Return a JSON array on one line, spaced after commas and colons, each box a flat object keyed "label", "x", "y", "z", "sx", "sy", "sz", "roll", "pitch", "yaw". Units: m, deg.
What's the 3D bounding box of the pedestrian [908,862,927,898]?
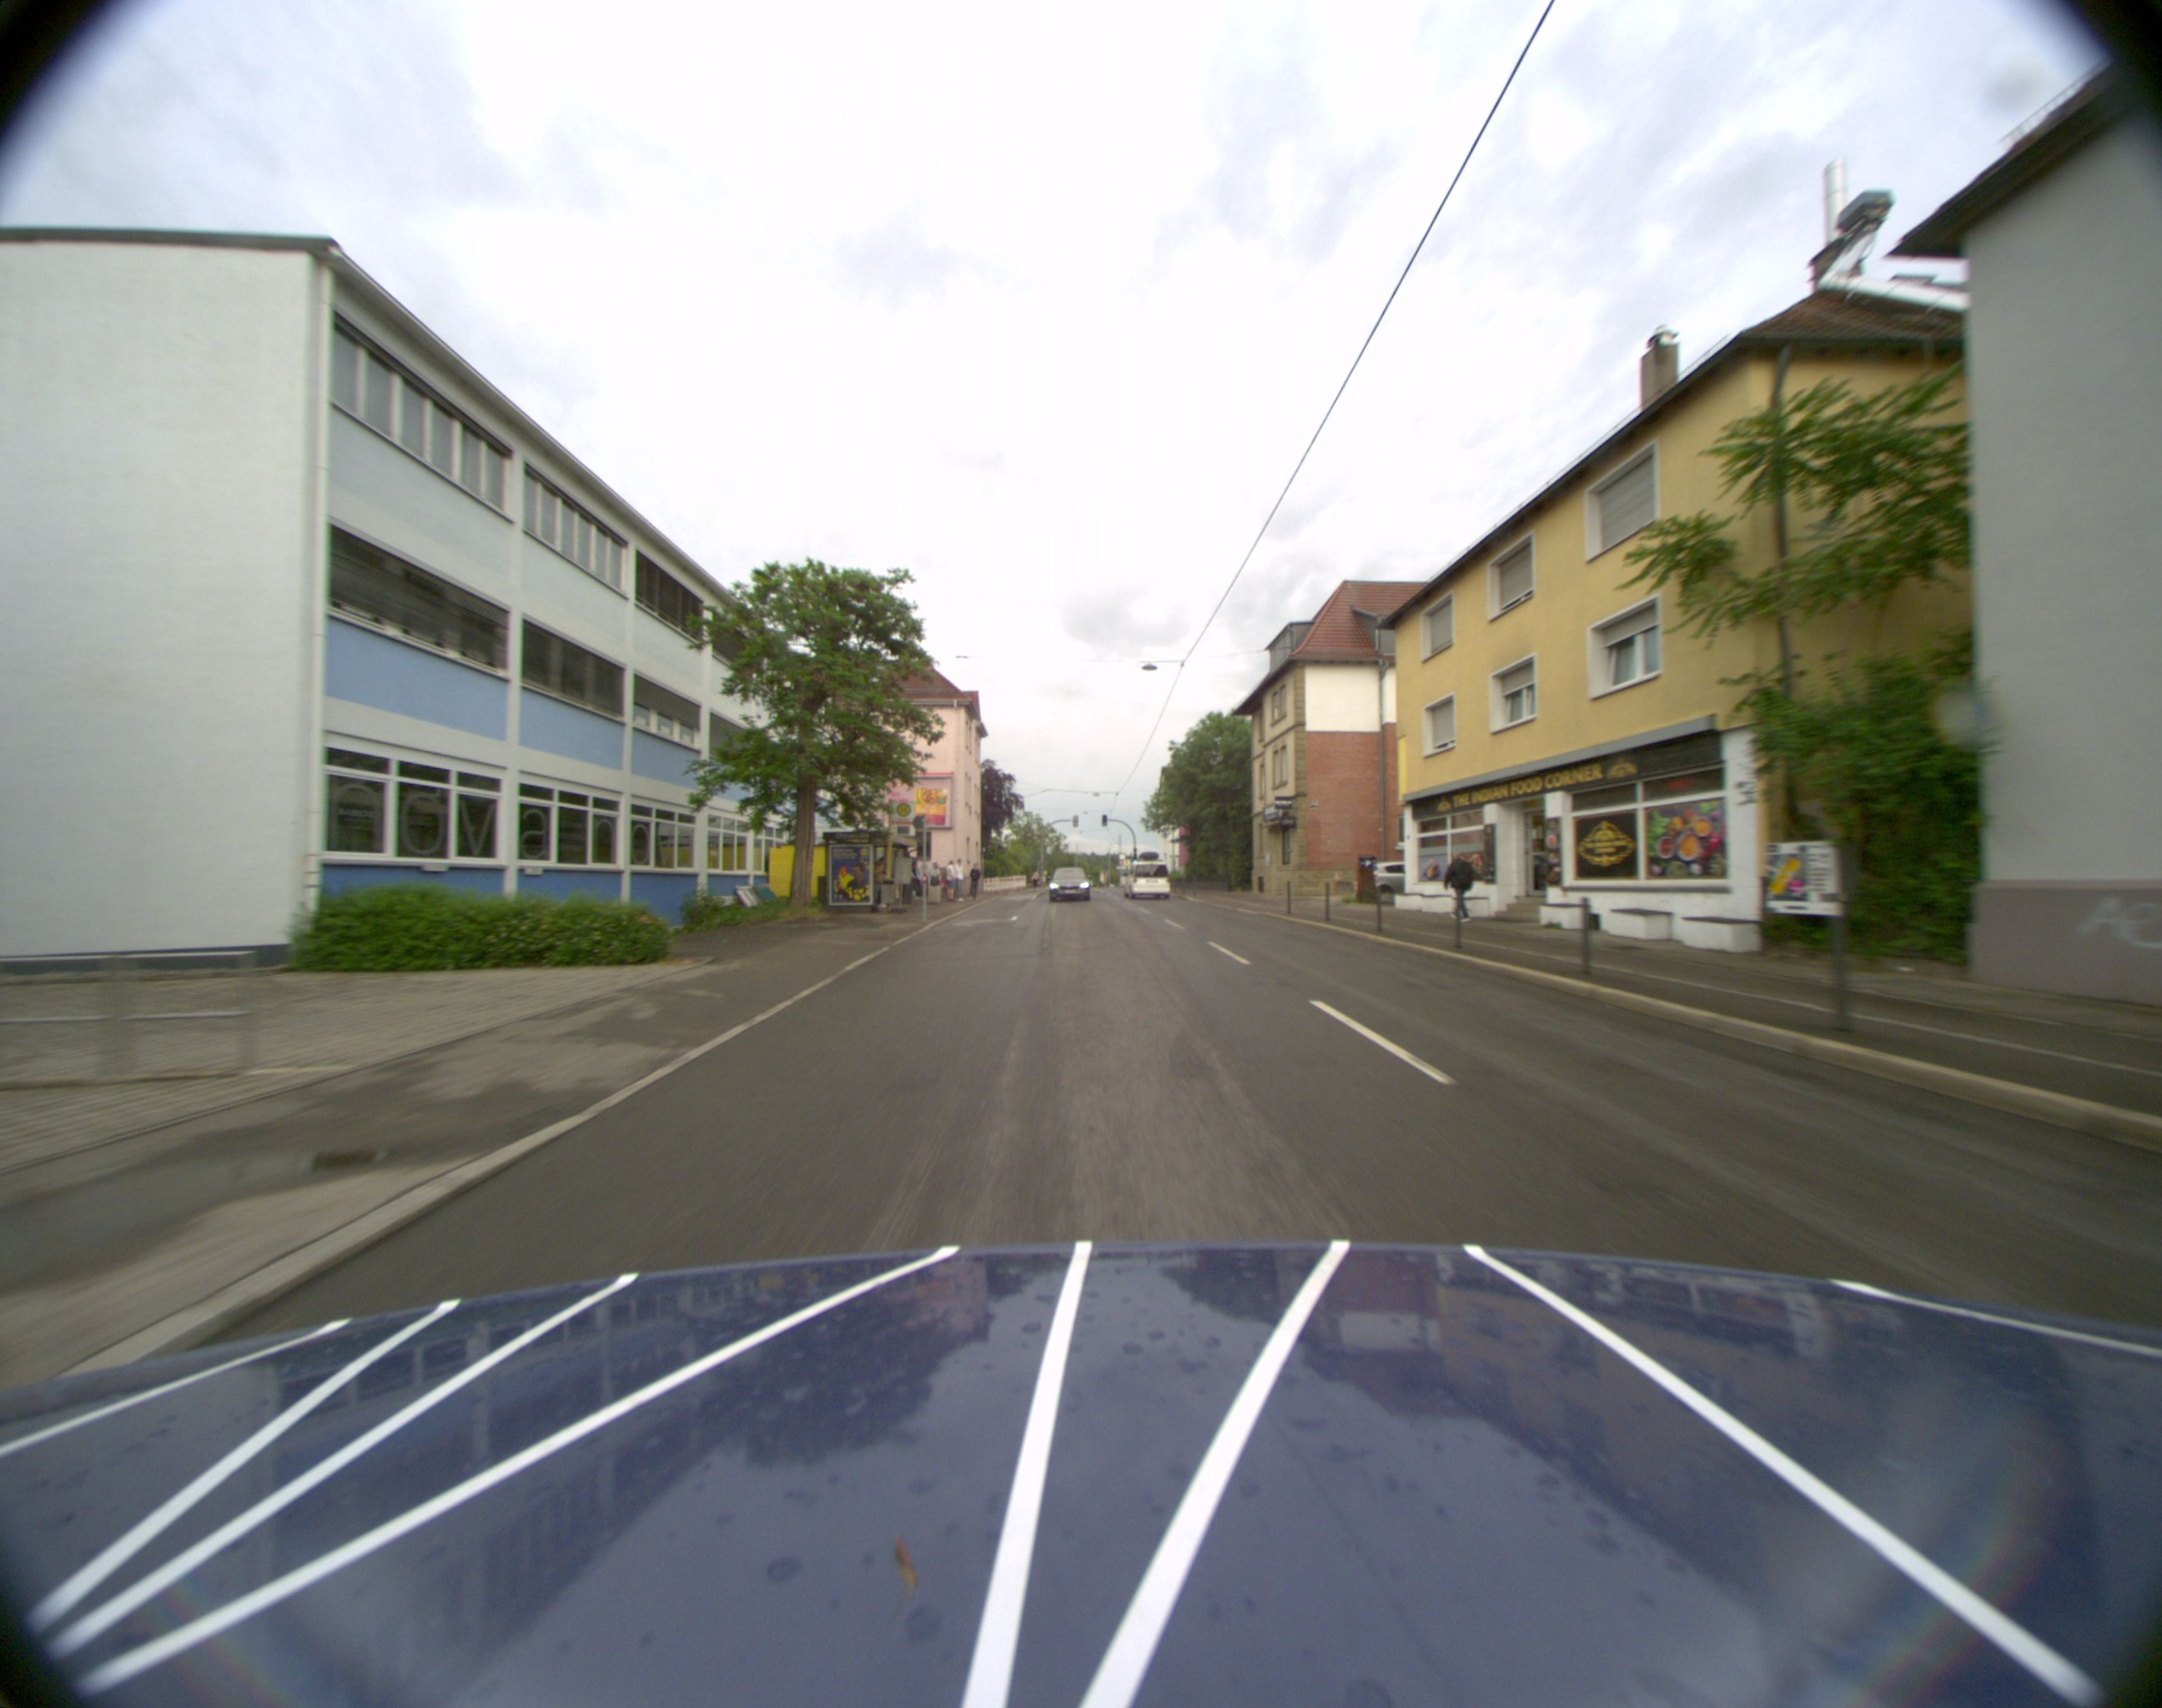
[{"label": "pedestrian", "x": -7.687, "y": 1.215, "z": 35.672, "sx": 0.676, "sy": 1.616, "sz": 0.623, "roll": 2, "pitch": -1, "yaw": -30}]

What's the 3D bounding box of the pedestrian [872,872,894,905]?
[{"label": "pedestrian", "x": -7.302, "y": 1.278, "z": 28.037, "sx": 0.662, "sy": 1.192, "sz": 0.741, "roll": 1, "pitch": 0, "yaw": -6}]

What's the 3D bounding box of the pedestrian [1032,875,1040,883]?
[{"label": "pedestrian", "x": -7.330, "y": 4.097, "z": 123.027, "sx": 1.070, "sy": 1.321, "sz": 0.808, "roll": 1, "pitch": -2, "yaw": -33}]

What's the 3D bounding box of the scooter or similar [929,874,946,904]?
[{"label": "scooter or similar", "x": -5.684, "y": 1.382, "z": 30.111, "sx": 0.619, "sy": 1.133, "sz": 0.567, "roll": 1, "pitch": 0, "yaw": -5}]

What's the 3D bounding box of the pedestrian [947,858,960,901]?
[{"label": "pedestrian", "x": -5.529, "y": 1.094, "z": 32.992, "sx": 0.460, "sy": 1.829, "sz": 0.604, "roll": 2, "pitch": -1, "yaw": -6}]

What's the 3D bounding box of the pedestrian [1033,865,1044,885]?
[{"label": "pedestrian", "x": -3.544, "y": 1.745, "z": 63.728, "sx": 0.785, "sy": 1.632, "sz": 1.222, "roll": -2, "pitch": 0, "yaw": 3}]

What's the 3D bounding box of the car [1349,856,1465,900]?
[{"label": "car", "x": 12.494, "y": 0.911, "z": 29.297, "sx": 3.574, "sy": 1.477, "sz": 1.947, "roll": -2, "pitch": -1, "yaw": -2}]

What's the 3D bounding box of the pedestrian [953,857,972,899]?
[{"label": "pedestrian", "x": -5.327, "y": 1.065, "z": 34.198, "sx": 0.487, "sy": 1.864, "sz": 0.634, "roll": 2, "pitch": -1, "yaw": 27}]

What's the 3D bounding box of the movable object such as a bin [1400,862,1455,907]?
[{"label": "movable object such as a bin", "x": 11.128, "y": 0.985, "z": 24.453, "sx": 1.305, "sy": 1.393, "sz": 0.983, "roll": -1, "pitch": -1, "yaw": -1}]

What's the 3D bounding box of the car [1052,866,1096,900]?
[{"label": "car", "x": -0.256, "y": 1.329, "z": 34.430, "sx": 1.837, "sy": 1.429, "sz": 4.002, "roll": -1, "pitch": -3, "yaw": 2}]

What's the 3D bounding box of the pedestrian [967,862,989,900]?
[{"label": "pedestrian", "x": -4.715, "y": 1.240, "z": 34.820, "sx": 0.638, "sy": 1.700, "sz": 0.747, "roll": 2, "pitch": -1, "yaw": -35}]

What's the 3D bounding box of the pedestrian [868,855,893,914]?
[{"label": "pedestrian", "x": -6.317, "y": 0.947, "z": 23.971, "sx": 0.648, "sy": 1.820, "sz": 0.741, "roll": 1, "pitch": 0, "yaw": -6}]

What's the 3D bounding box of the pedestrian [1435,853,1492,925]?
[{"label": "pedestrian", "x": 9.141, "y": 0.811, "z": 18.193, "sx": 0.817, "sy": 1.669, "sz": 0.992, "roll": -2, "pitch": 1, "yaw": -3}]

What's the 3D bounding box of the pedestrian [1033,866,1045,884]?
[{"label": "pedestrian", "x": -3.696, "y": 1.816, "z": 66.427, "sx": 0.877, "sy": 1.551, "sz": 1.049, "roll": -2, "pitch": 0, "yaw": 3}]

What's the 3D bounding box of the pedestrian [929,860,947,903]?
[{"label": "pedestrian", "x": -5.788, "y": 1.104, "z": 30.782, "sx": 0.662, "sy": 1.731, "sz": 0.829, "roll": 1, "pitch": 0, "yaw": -6}]

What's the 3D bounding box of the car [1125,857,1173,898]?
[{"label": "car", "x": 3.217, "y": 1.094, "z": 36.824, "sx": 1.887, "sy": 1.859, "sz": 4.453, "roll": 0, "pitch": 0, "yaw": -1}]

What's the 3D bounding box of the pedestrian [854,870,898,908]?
[{"label": "pedestrian", "x": -7.121, "y": 1.216, "z": 26.498, "sx": 1.359, "sy": 1.265, "sz": 0.741, "roll": 1, "pitch": 0, "yaw": -6}]

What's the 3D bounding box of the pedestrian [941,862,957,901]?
[{"label": "pedestrian", "x": -5.850, "y": 1.199, "z": 33.657, "sx": 0.447, "sy": 1.698, "sz": 0.558, "roll": 2, "pitch": -1, "yaw": 12}]
